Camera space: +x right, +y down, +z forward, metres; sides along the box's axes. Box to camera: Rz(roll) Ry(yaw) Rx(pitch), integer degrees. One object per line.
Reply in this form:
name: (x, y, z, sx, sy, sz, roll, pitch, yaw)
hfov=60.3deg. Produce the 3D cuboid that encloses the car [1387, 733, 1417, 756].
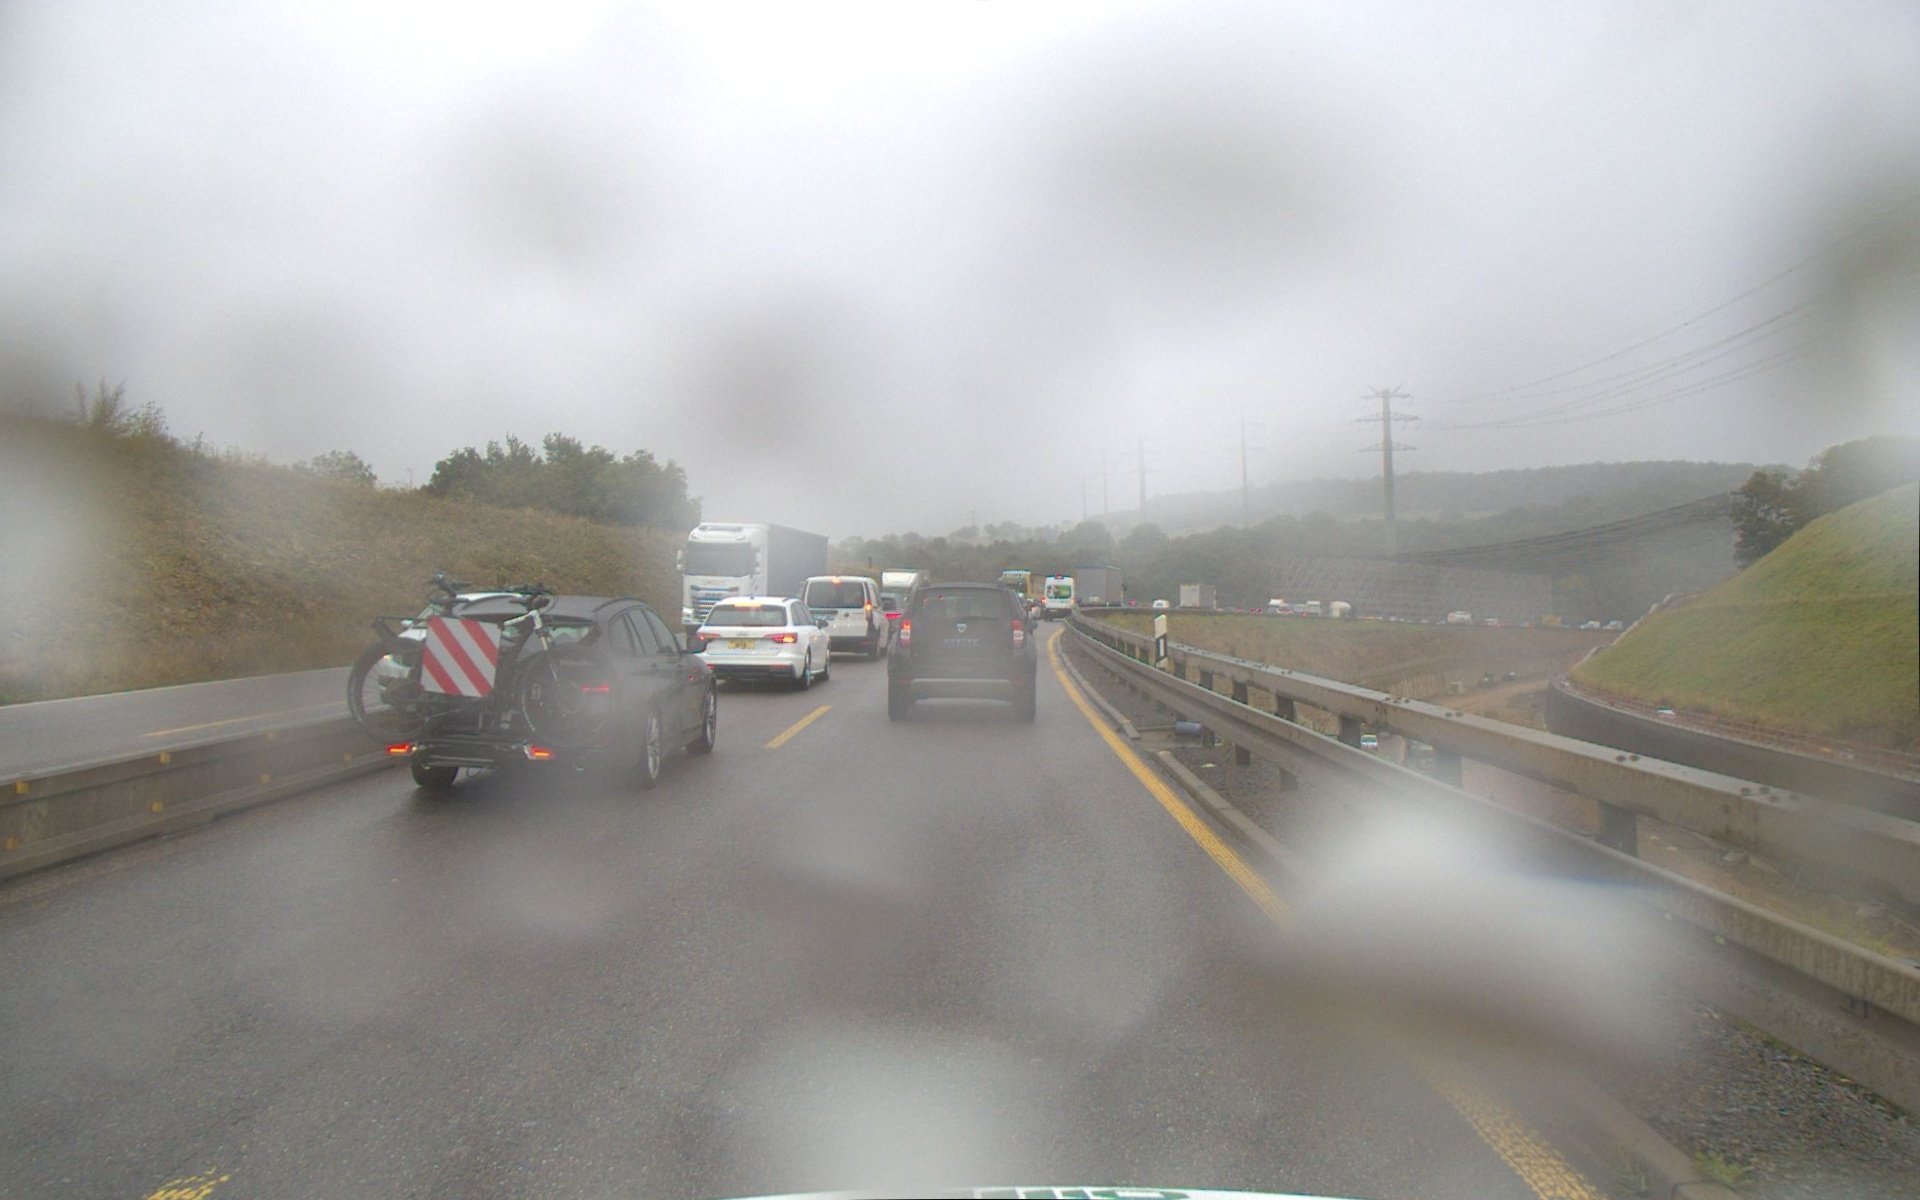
car: (42.806, 14.033, 160.257, 1.952, 1.847, 4.001, 1, 0, 3)

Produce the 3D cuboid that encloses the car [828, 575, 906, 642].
car: (-2.540, 0.219, 45.909, 1.829, 1.738, 4.092, 1, 0, 1)

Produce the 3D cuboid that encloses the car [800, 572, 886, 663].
car: (-2.611, 0.361, 37.595, 1.626, 1.912, 4.019, 1, 0, 0)

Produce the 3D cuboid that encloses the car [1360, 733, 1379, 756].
car: (44.632, 15.709, 180.149, 1.951, 2.049, 4.003, 1, 0, 14)

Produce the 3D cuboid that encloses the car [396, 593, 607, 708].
car: (-6.634, 0.668, 24.470, 1.829, 1.486, 4.548, 1, 0, 0)

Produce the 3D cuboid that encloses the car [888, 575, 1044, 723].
car: (0.109, 0.557, 20.692, 1.767, 1.674, 3.777, 0, 0, 1)

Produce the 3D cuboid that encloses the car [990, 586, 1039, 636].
car: (1.939, 0.360, 58.077, 1.498, 1.669, 4.015, 1, 0, 5)

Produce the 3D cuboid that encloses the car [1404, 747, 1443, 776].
car: (39.997, 13.958, 142.844, 2.316, 2.049, 4.000, 1, 0, 1)

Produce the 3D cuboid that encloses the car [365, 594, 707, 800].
car: (-3.418, 0.710, 14.081, 1.790, 1.502, 3.777, 0, 0, 2)

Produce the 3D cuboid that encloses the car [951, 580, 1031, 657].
car: (0.715, 0.417, 40.215, 1.829, 1.738, 4.000, 1, 0, 0)

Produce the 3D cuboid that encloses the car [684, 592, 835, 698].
car: (-3.106, 0.647, 26.453, 1.829, 1.486, 4.548, 1, 0, 0)

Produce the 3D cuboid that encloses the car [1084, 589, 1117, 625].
car: (7.817, 0.362, 92.342, 1.738, 1.949, 4.002, 1, 0, 4)

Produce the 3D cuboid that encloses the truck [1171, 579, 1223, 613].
truck: (31.054, -0.500, 216.202, 4.618, 4.222, 15.693, 1, 0, 16)

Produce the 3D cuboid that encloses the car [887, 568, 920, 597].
car: (-3.565, -1.079, 104.470, 1.829, 1.609, 4.091, 2, -2, 1)

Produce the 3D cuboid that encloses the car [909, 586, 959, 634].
car: (-0.966, 0.378, 62.249, 1.829, 1.738, 4.091, 0, -1, 0)

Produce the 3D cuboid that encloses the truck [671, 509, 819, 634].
truck: (-7.944, -1.009, 63.619, 2.872, 4.168, 14.397, 1, 0, 3)

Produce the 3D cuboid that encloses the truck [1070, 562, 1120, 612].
truck: (10.761, -1.005, 131.235, 3.132, 3.827, 8.516, 1, 0, 9)

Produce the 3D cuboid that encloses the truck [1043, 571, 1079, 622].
truck: (6.640, -0.228, 108.299, 2.104, 3.221, 6.463, 1, 0, 5)
